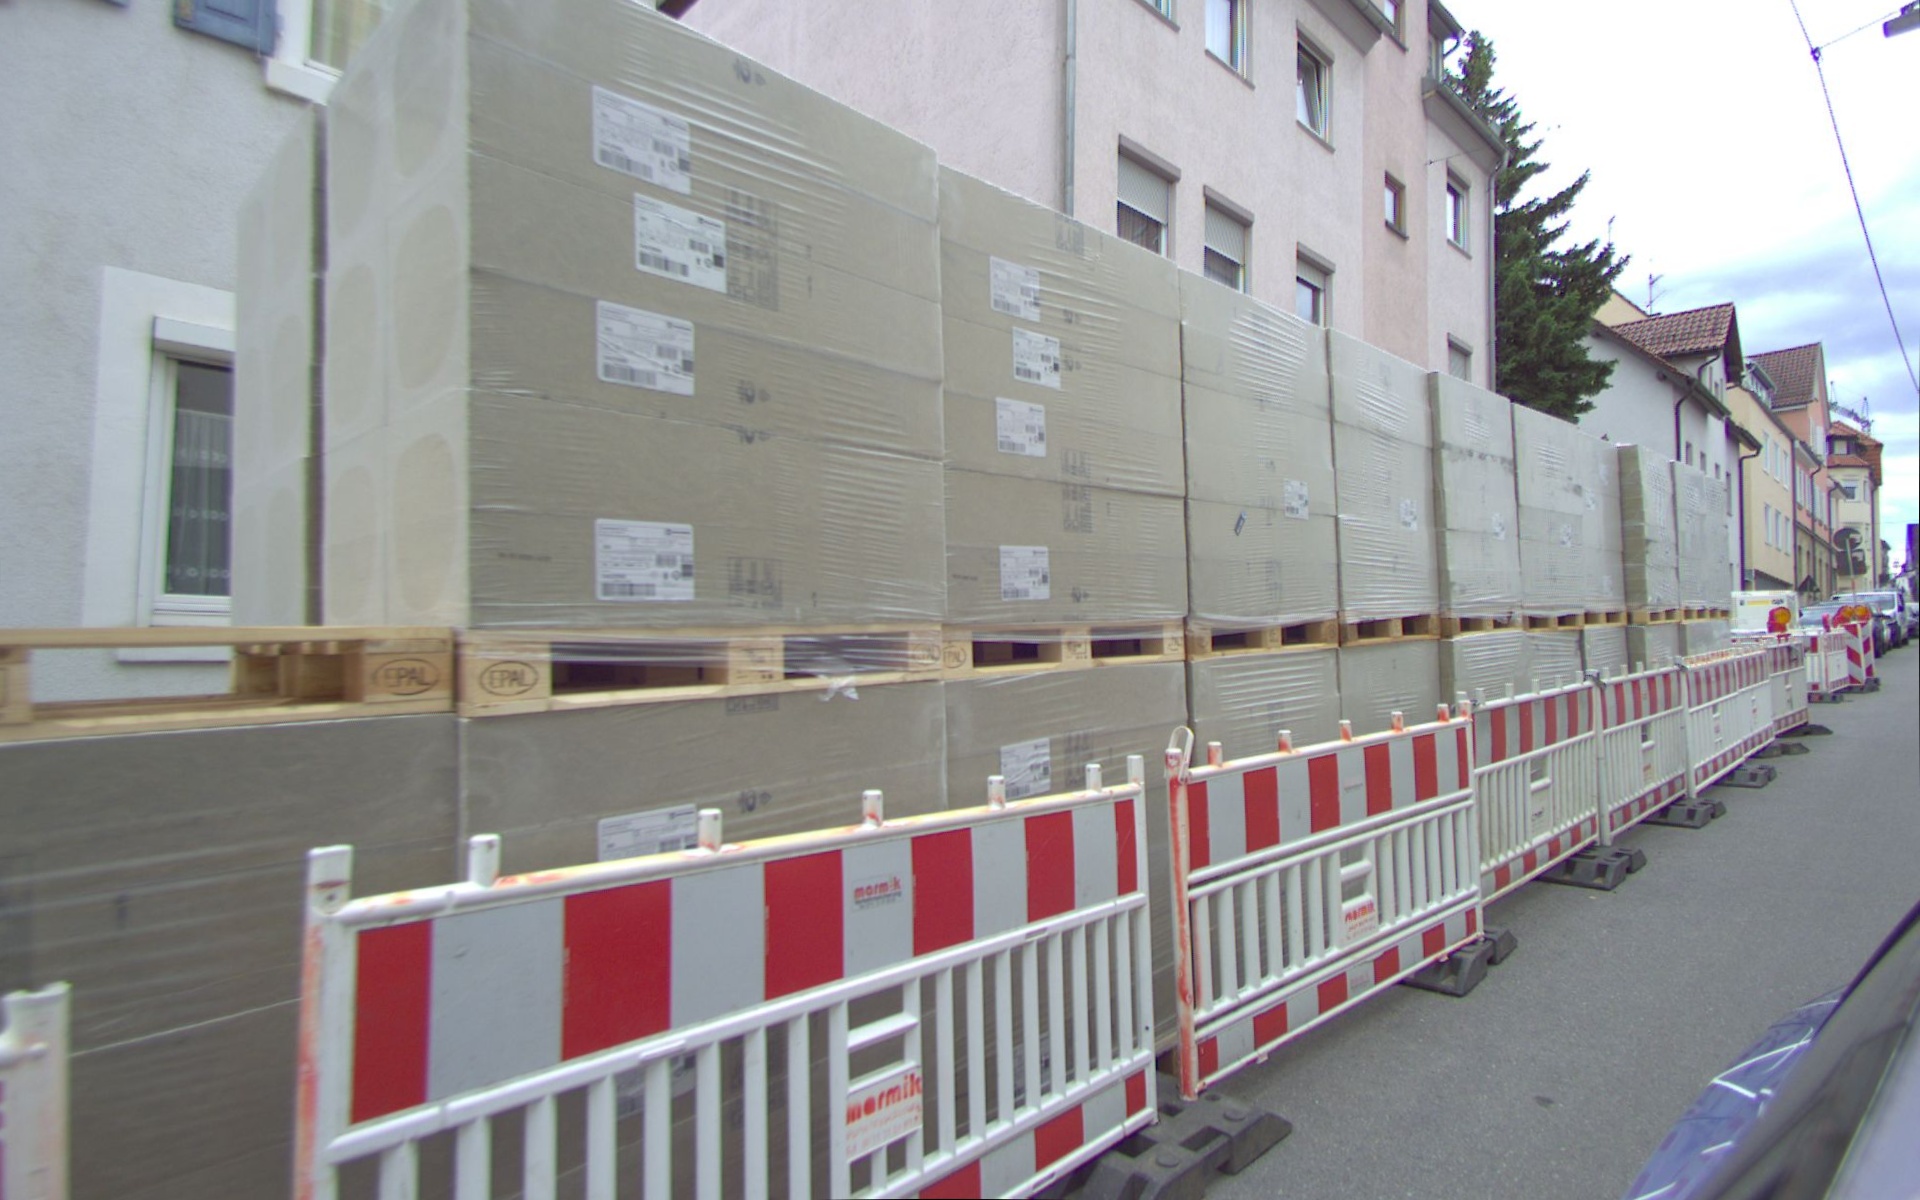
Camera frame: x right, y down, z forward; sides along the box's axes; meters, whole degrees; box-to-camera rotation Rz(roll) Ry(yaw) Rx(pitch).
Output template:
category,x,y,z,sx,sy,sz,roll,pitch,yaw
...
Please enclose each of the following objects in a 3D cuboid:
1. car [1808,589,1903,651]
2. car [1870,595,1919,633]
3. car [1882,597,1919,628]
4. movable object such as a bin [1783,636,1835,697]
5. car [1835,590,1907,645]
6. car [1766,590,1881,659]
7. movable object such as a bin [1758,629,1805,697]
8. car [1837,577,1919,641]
category,x,y,z,sx,sy,sz,roll,pitch,yaw
car,25.727,0.578,29.027,1.713,1.617,4.425,-4,-3,45
car,40.270,0.563,43.167,1.852,1.422,4.501,-6,-4,45
car,45.520,0.591,48.359,4.220,1.422,1.853,1,-3,-44
movable object such as a bin,12.775,0.996,15.236,0.356,0.904,0.401,-2,-3,-6
car,28.872,0.563,32.065,1.487,1.617,2.745,-4,-3,45
car,21.718,0.620,25.411,4.005,1.586,1.716,1,-3,-44
movable object such as a bin,12.327,0.933,15.195,0.445,0.990,0.398,1,-2,22
car,32.421,0.331,35.517,5.638,2.056,1.906,1,-3,-44
